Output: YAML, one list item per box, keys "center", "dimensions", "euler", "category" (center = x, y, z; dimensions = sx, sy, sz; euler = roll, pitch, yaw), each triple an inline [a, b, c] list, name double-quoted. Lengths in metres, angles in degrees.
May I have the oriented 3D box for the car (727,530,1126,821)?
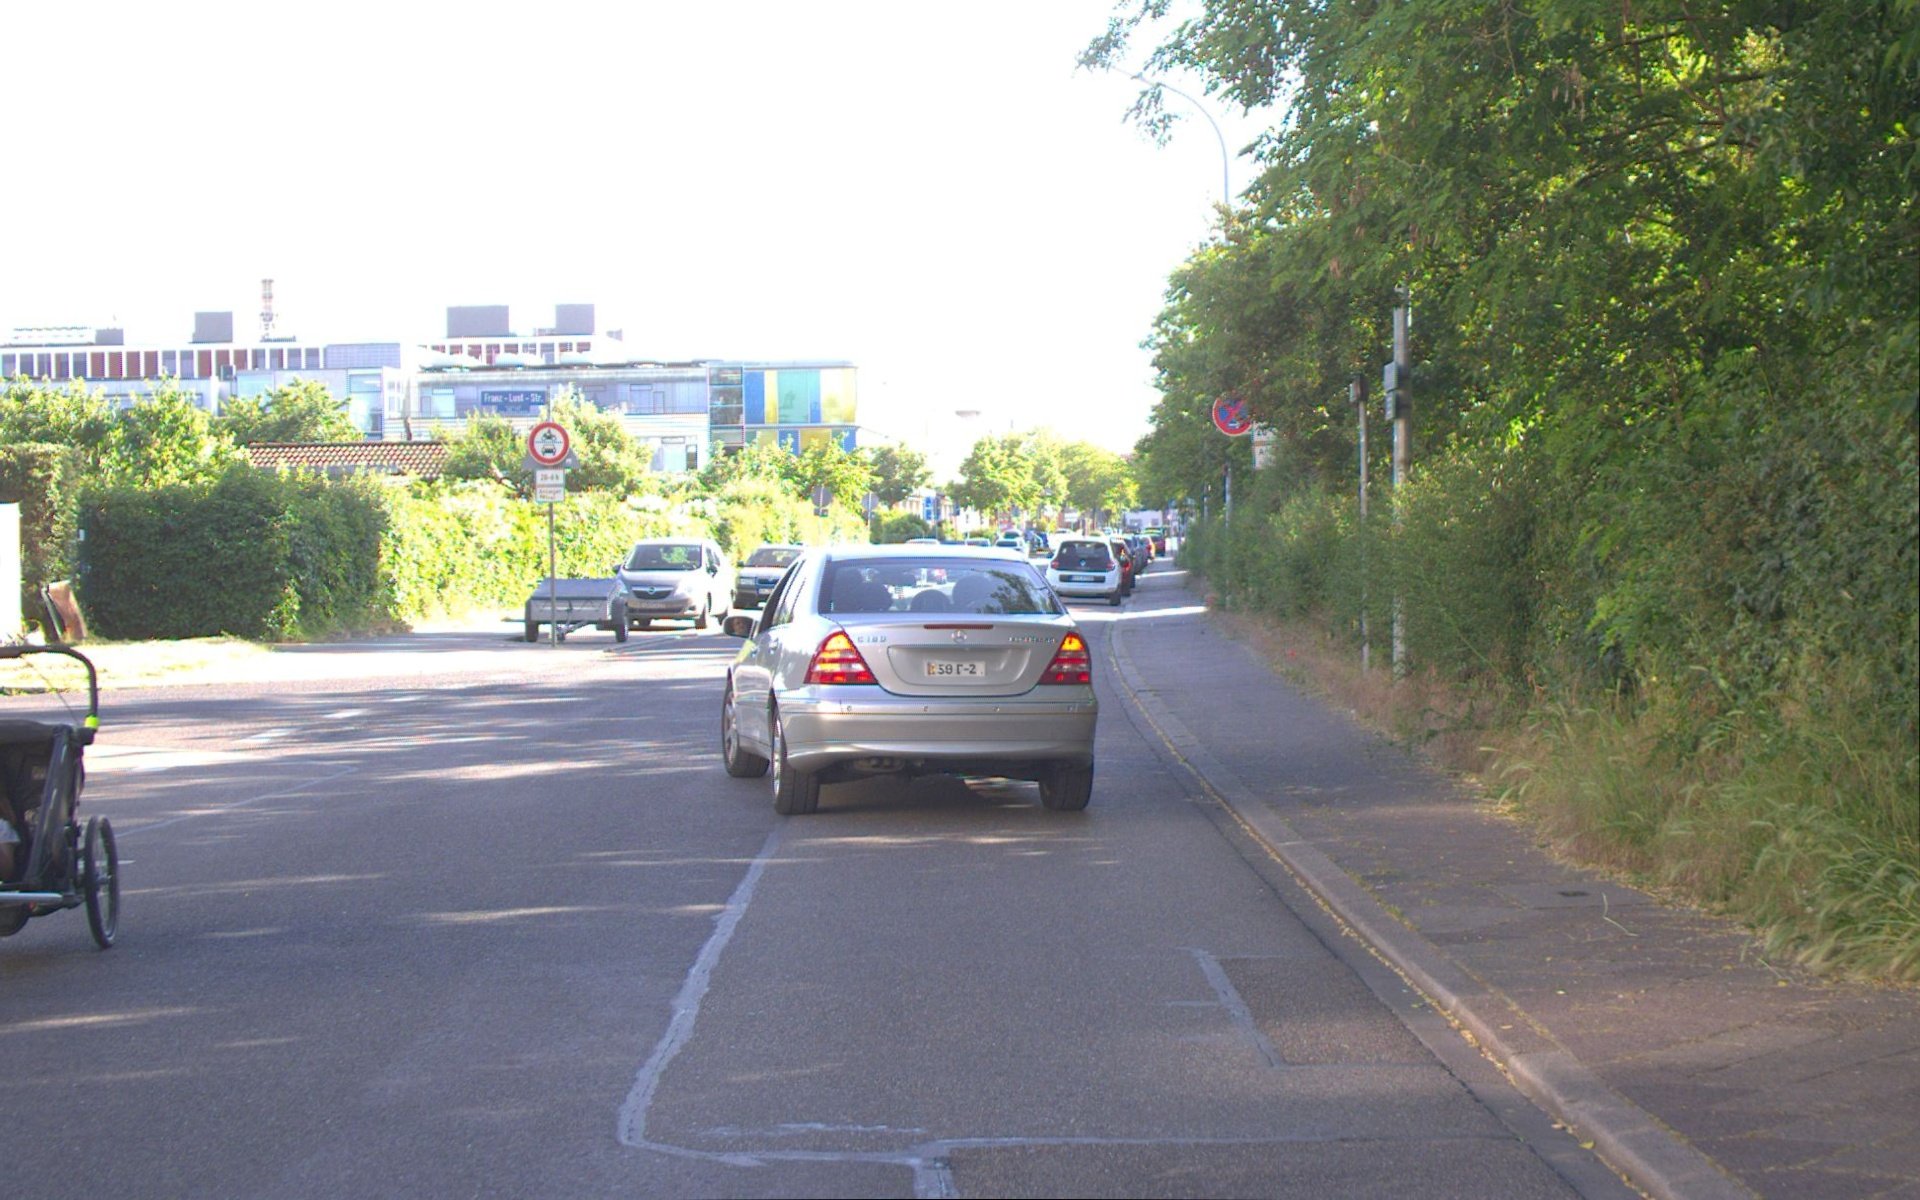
- center: [-0.296, 0.337, 19.299]
  dimensions: [1.737, 1.448, 4.001]
  euler: [0, 1, -8]
  category: "car"

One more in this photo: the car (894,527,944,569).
- center: [-1.475, -1.909, 125.899]
  dimensions: [1.560, 1.489, 3.570]
  euler: [-1, 1, 3]
  category: "car"

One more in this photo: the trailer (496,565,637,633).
- center: [-5.839, -0.036, 51.247]
  dimensions: [1.544, 0.950, 2.647]
  euler: [1, 1, 6]
  category: "trailer"

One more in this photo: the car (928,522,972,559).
- center: [-0.407, -2.495, 144.035]
  dimensions: [1.560, 1.489, 3.570]
  euler: [2, 1, 3]
  category: "car"

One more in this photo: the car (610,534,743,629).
- center: [-5.019, -0.361, 61.370]
  dimensions: [1.644, 1.594, 4.311]
  euler: [0, 1, 5]
  category: "car"

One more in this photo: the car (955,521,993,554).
- center: [0.664, -2.918, 161.041]
  dimensions: [1.560, 1.489, 3.758]
  euler: [-1, 1, 3]
  category: "car"

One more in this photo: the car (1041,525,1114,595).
- center: [2.705, -0.940, 78.732]
  dimensions: [1.556, 1.533, 3.555]
  euler: [1, 1, 3]
  category: "car"

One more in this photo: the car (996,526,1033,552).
- center: [3.046, -3.381, 190.281]
  dimensions: [1.854, 1.423, 4.134]
  euler: [1, 1, 3]
  category: "car"

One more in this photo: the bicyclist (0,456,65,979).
- center: [-3.464, 0.370, 11.111]
  dimensions: [0.844, 1.652, 1.064]
  euler: [-1, 1, -1]
  category: "bicyclist"

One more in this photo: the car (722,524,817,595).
- center: [-4.350, -0.947, 79.051]
  dimensions: [1.643, 1.551, 4.417]
  euler: [-1, 1, 3]
  category: "car"

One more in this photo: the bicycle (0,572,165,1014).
- center: [-3.473, 0.615, 11.582]
  dimensions: [0.851, 1.366, 3.221]
  euler: [-1, 1, -1]
  category: "bicycle"
